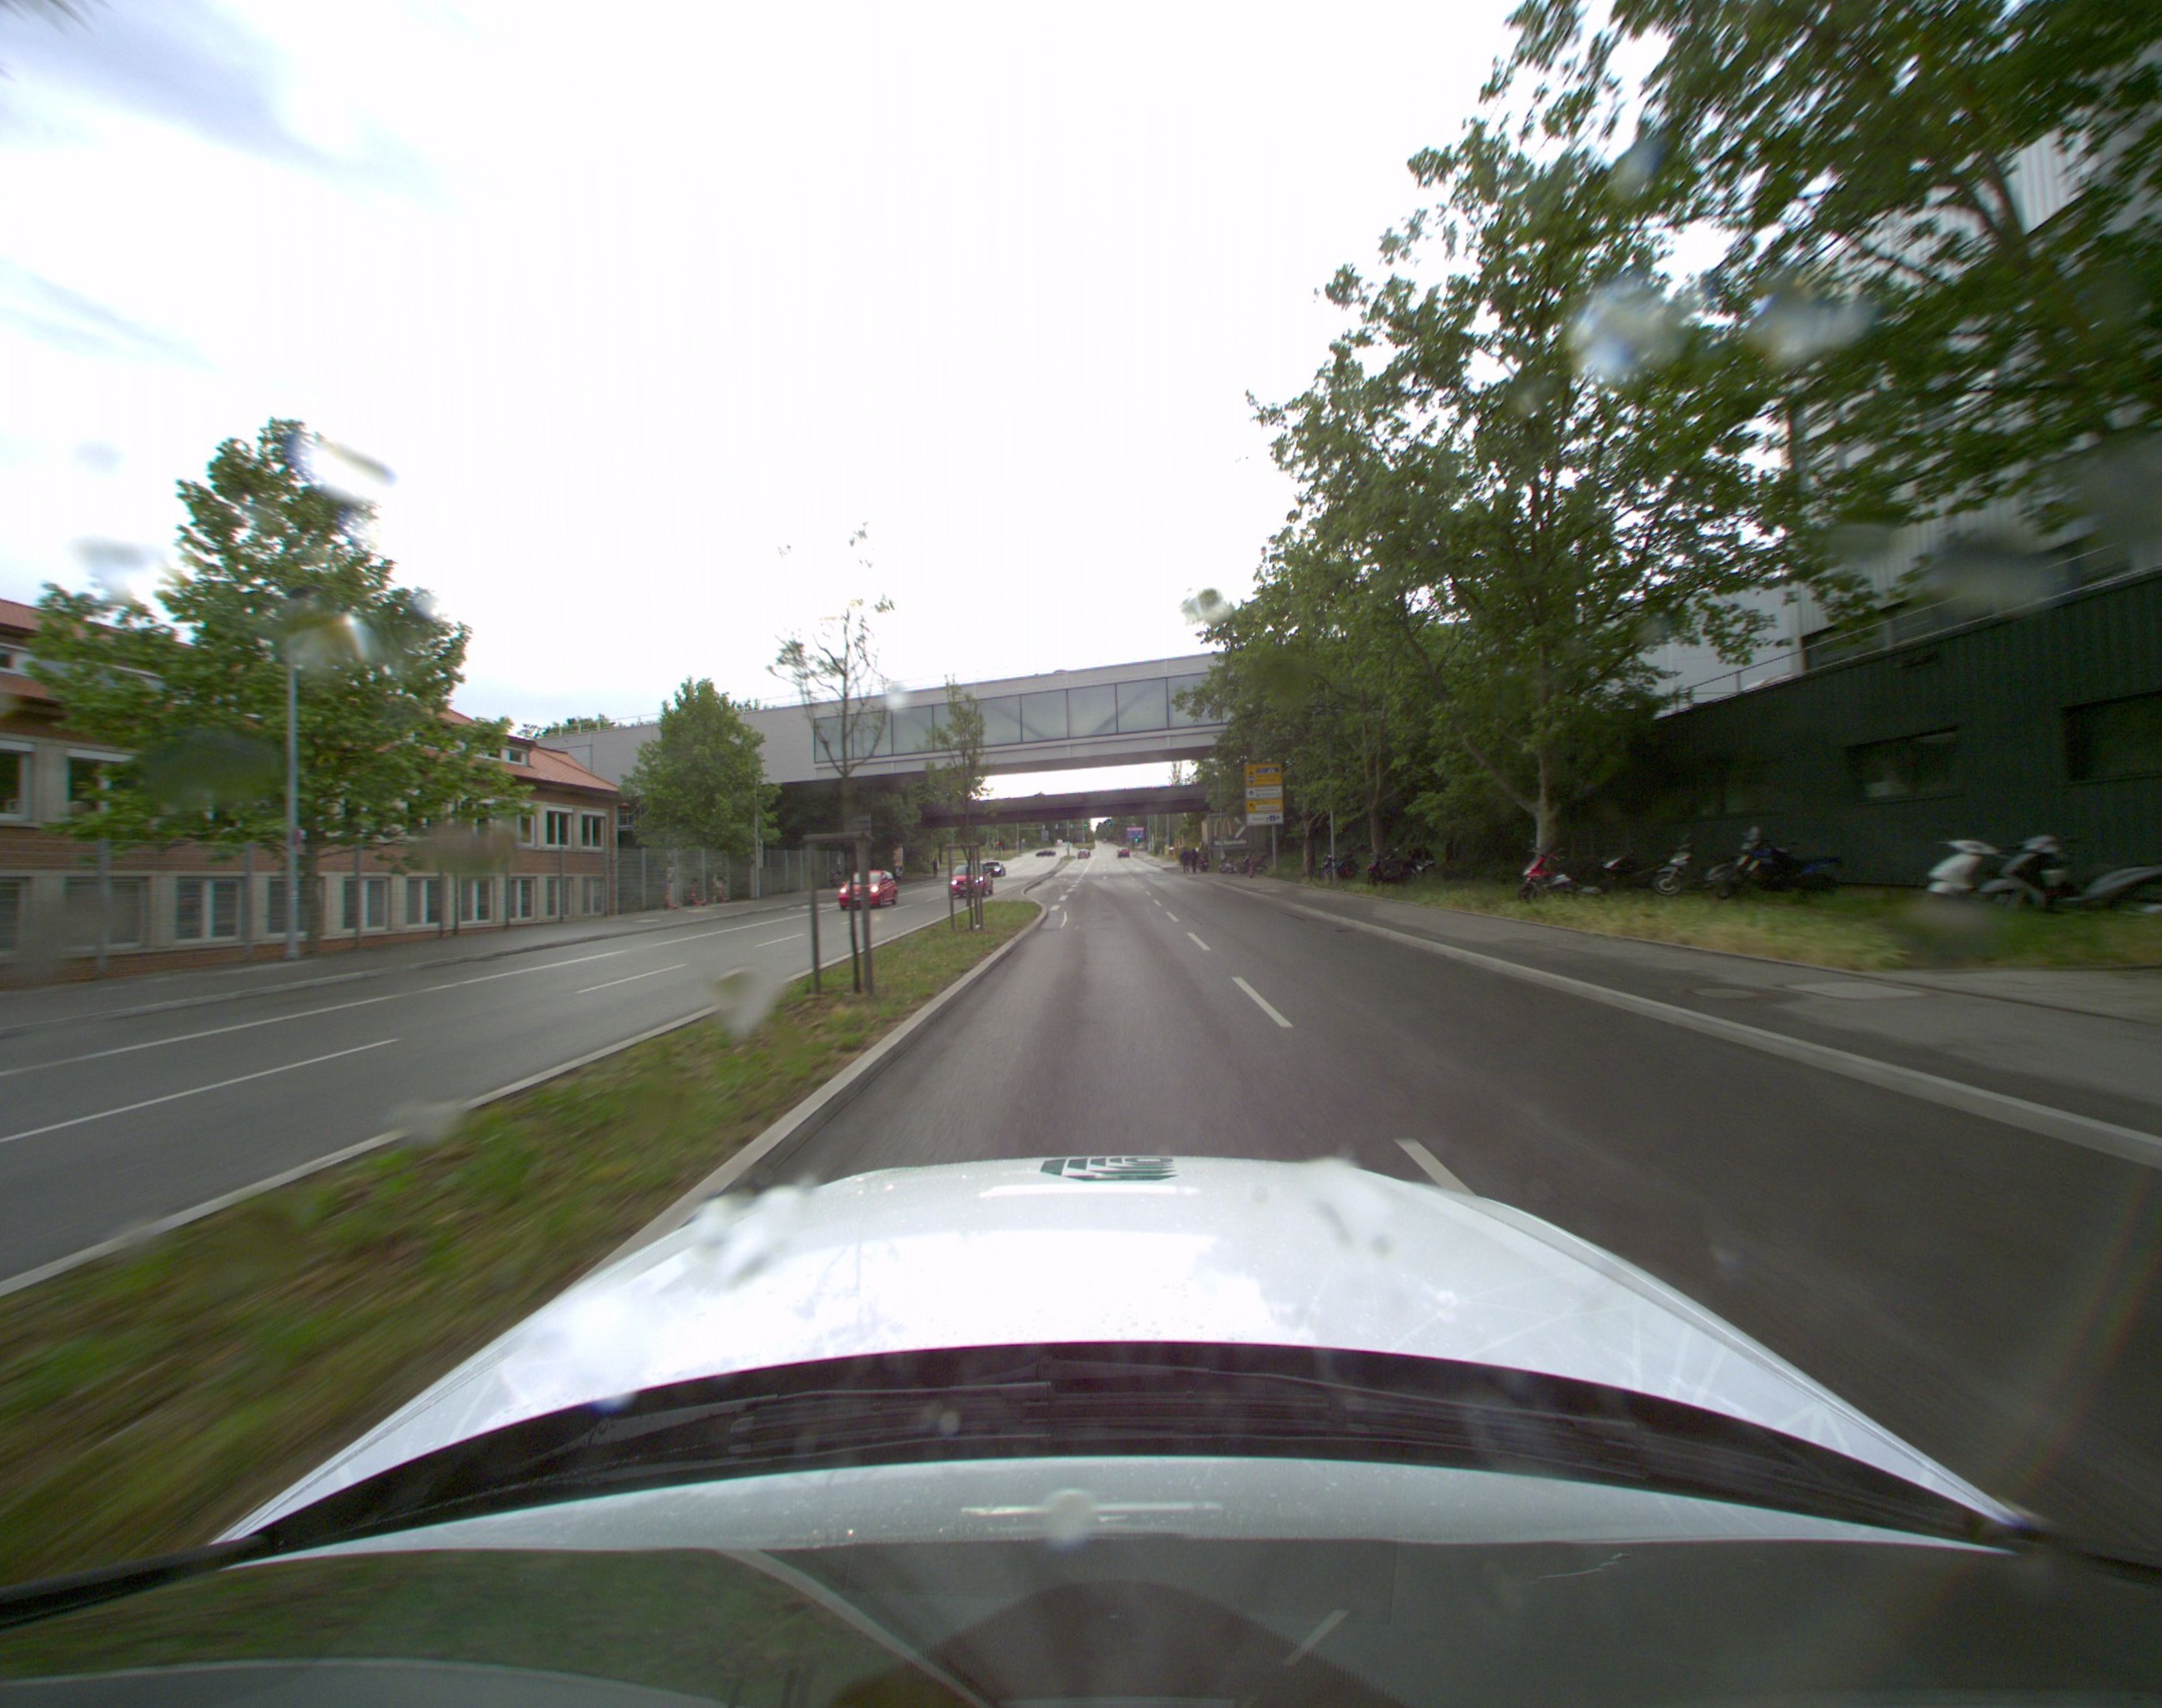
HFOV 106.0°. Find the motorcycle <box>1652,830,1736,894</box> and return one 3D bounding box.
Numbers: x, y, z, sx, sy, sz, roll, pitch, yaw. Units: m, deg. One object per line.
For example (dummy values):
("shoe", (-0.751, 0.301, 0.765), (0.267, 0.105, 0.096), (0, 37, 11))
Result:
("motorcycle", (13.412, 0.172, 17.842), (1.495, 1.365, 0.505), (0, -1, -4))

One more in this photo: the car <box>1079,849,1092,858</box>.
("car", (0.882, -0.094, 152.418), (2.156, 1.582, 4.670), (0, -1, 5))

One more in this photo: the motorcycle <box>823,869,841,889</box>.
("motorcycle", (-16.454, 1.626, 53.888), (0.467, 1.205, 1.997), (-3, 0, 1))

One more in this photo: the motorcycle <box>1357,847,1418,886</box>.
("motorcycle", (10.065, 0.398, 26.745), (1.851, 1.191, 0.519), (-2, 0, -14))

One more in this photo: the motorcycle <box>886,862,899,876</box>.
("motorcycle", (-16.226, 1.259, 70.150), (0.466, 1.158, 1.935), (-3, 0, 5))

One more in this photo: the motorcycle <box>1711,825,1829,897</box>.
("motorcycle", (13.331, 0.133, 15.778), (1.924, 1.365, 0.505), (0, -1, -4))

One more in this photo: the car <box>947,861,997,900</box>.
("car", (-4.976, 1.172, 37.567), (1.579, 1.605, 3.857), (-4, -1, 1))

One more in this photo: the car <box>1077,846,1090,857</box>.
("car", (0.434, -0.392, 137.286), (2.070, 1.718, 4.197), (0, -1, 0))

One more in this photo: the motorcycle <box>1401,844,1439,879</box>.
("motorcycle", (13.095, 0.279, 31.517), (0.643, 1.279, 1.991), (-2, -1, 1))

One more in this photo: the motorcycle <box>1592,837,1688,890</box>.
("motorcycle", (13.541, 0.229, 19.769), (1.904, 1.257, 0.492), (0, -1, 7))

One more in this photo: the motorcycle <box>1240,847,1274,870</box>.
("motorcycle", (10.711, 0.292, 49.664), (1.919, 1.297, 0.551), (-3, 0, 36))

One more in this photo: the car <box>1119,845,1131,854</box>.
("car", (7.150, -0.741, 132.677), (1.739, 1.470, 4.167), (-2, 1, 1))

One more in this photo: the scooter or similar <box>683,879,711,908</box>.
("scooter or similar", (-17.021, 1.746, 36.127), (0.309, 1.218, 1.312), (-3, 0, 13))

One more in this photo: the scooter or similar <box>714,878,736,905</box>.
("scooter or similar", (-16.904, 1.775, 38.662), (0.310, 1.218, 1.310), (-3, 0, 6))

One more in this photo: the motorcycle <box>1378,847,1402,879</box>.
("motorcycle", (12.949, 0.367, 34.107), (0.515, 1.279, 1.866), (-2, 0, 32))

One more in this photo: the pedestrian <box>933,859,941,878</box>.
("pedestrian", (-14.346, 1.422, 80.986), (0.516, 1.816, 0.802), (-2, 0, 11))

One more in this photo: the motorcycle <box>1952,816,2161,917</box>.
("motorcycle", (12.275, 0.156, 10.156), (0.477, 1.145, 1.885), (0, -1, -18))

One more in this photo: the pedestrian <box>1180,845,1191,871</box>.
("pedestrian", (7.125, 0.255, 55.501), (0.607, 1.721, 0.895), (-3, 0, 11))

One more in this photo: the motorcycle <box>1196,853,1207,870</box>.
("motorcycle", (8.189, 0.515, 55.465), (0.468, 1.136, 1.819), (-3, 0, 1))

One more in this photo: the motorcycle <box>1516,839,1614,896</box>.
("motorcycle", (9.877, 0.283, 16.660), (1.643, 1.150, 0.494), (0, -1, 9))

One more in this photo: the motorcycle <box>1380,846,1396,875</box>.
("motorcycle", (14.057, 0.290, 37.249), (0.345, 1.279, 2.084), (-2, 0, 29))

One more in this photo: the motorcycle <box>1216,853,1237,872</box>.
("motorcycle", (9.226, 0.541, 51.679), (0.470, 1.213, 1.933), (-3, 0, -17))

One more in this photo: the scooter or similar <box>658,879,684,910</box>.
("scooter or similar", (-17.055, 1.676, 33.901), (0.310, 1.218, 1.308), (-3, 0, 2))

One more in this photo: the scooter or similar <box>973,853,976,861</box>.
("scooter or similar", (-18.589, 0.529, 142.304), (0.311, 1.218, 1.302), (-2, 1, -12))

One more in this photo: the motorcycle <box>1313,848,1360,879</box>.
("motorcycle", (11.207, 0.413, 35.709), (1.851, 1.253, 0.627), (-2, 0, -14))

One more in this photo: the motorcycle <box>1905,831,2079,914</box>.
("motorcycle", (13.024, 0.270, 11.686), (1.627, 1.145, 0.561), (-1, -1, 12))

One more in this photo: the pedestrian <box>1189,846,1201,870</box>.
("pedestrian", (7.747, 0.247, 55.269), (0.646, 1.596, 0.581), (-3, 0, 13))

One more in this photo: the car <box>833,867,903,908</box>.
("car", (-8.512, 1.309, 32.847), (1.709, 1.437, 3.772), (-4, -1, 0))

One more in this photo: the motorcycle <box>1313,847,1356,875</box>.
("motorcycle", (11.638, 0.324, 37.411), (0.632, 1.253, 1.835), (-2, 0, -33))

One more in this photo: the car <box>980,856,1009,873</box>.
("car", (-7.840, 0.936, 73.961), (2.057, 1.361, 4.756), (-3, 0, 0))
